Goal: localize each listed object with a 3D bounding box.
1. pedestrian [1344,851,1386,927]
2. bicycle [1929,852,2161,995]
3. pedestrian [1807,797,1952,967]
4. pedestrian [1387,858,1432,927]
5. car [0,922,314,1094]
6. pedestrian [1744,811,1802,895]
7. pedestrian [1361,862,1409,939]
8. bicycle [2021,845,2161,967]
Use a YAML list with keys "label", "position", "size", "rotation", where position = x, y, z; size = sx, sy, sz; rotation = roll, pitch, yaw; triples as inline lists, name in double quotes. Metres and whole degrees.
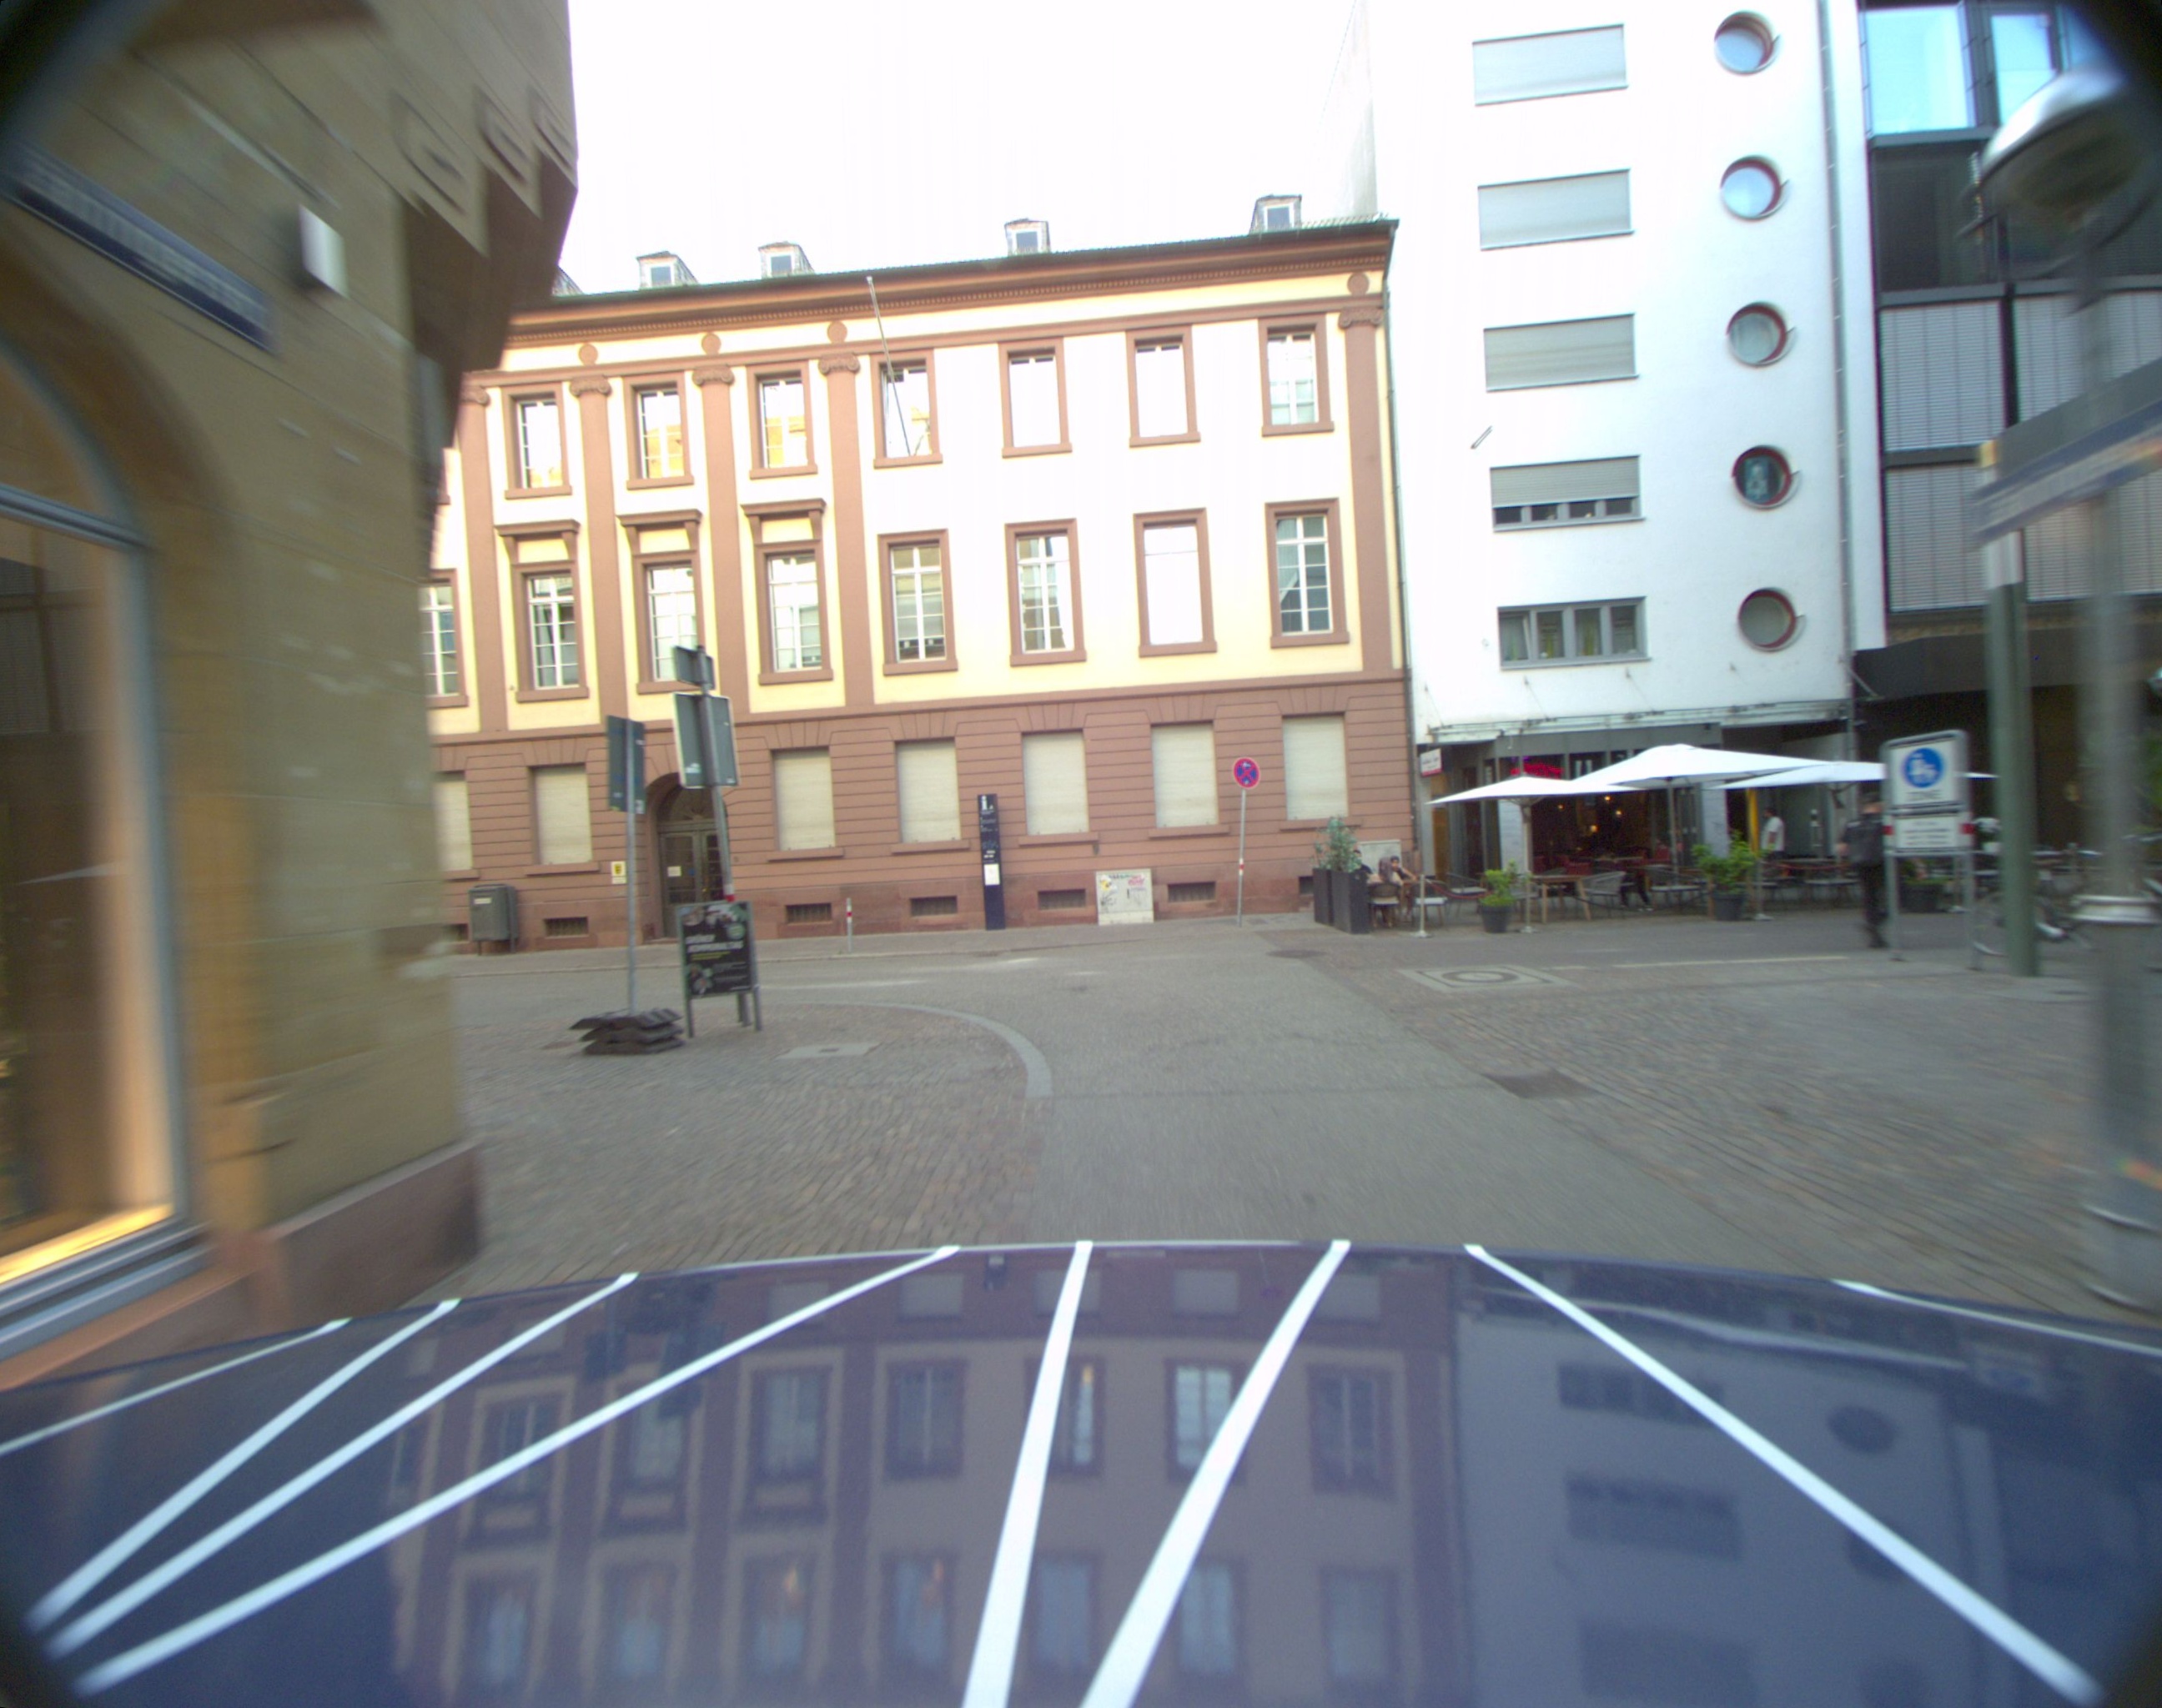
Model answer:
- label: "pedestrian"
  position: [5.201, 0.639, 13.929]
  size: [0.548, 1.341, 0.489]
  rotation: [-3, 1, 5]
- label: "bicycle"
  position: [8.952, 0.565, 6.853]
  size: [0.709, 1.106, 1.674]
  rotation: [-3, -1, 2]
- label: "pedestrian"
  position: [8.953, 0.289, 8.538]
  size: [0.969, 1.775, 0.739]
  rotation: [-3, 1, -19]
- label: "pedestrian"
  position: [5.942, 0.685, 13.761]
  size: [0.548, 1.204, 0.524]
  rotation: [-3, 1, 5]
- label: "car"
  position: [-11.406, 1.699, 8.513]
  size: [3.996, 1.435, 1.650]
  rotation: [-3, 3, 4]
- label: "pedestrian"
  position: [14.180, -0.030, 15.569]
  size: [0.671, 1.656, 0.623]
  rotation: [-4, 1, -25]
- label: "pedestrian"
  position: [4.943, 0.747, 12.383]
  size: [0.561, 1.204, 0.461]
  rotation: [-3, 1, 5]
- label: "bicycle"
  position: [10.575, 0.495, 7.367]
  size: [0.609, 1.143, 1.842]
  rotation: [-3, -1, 2]
